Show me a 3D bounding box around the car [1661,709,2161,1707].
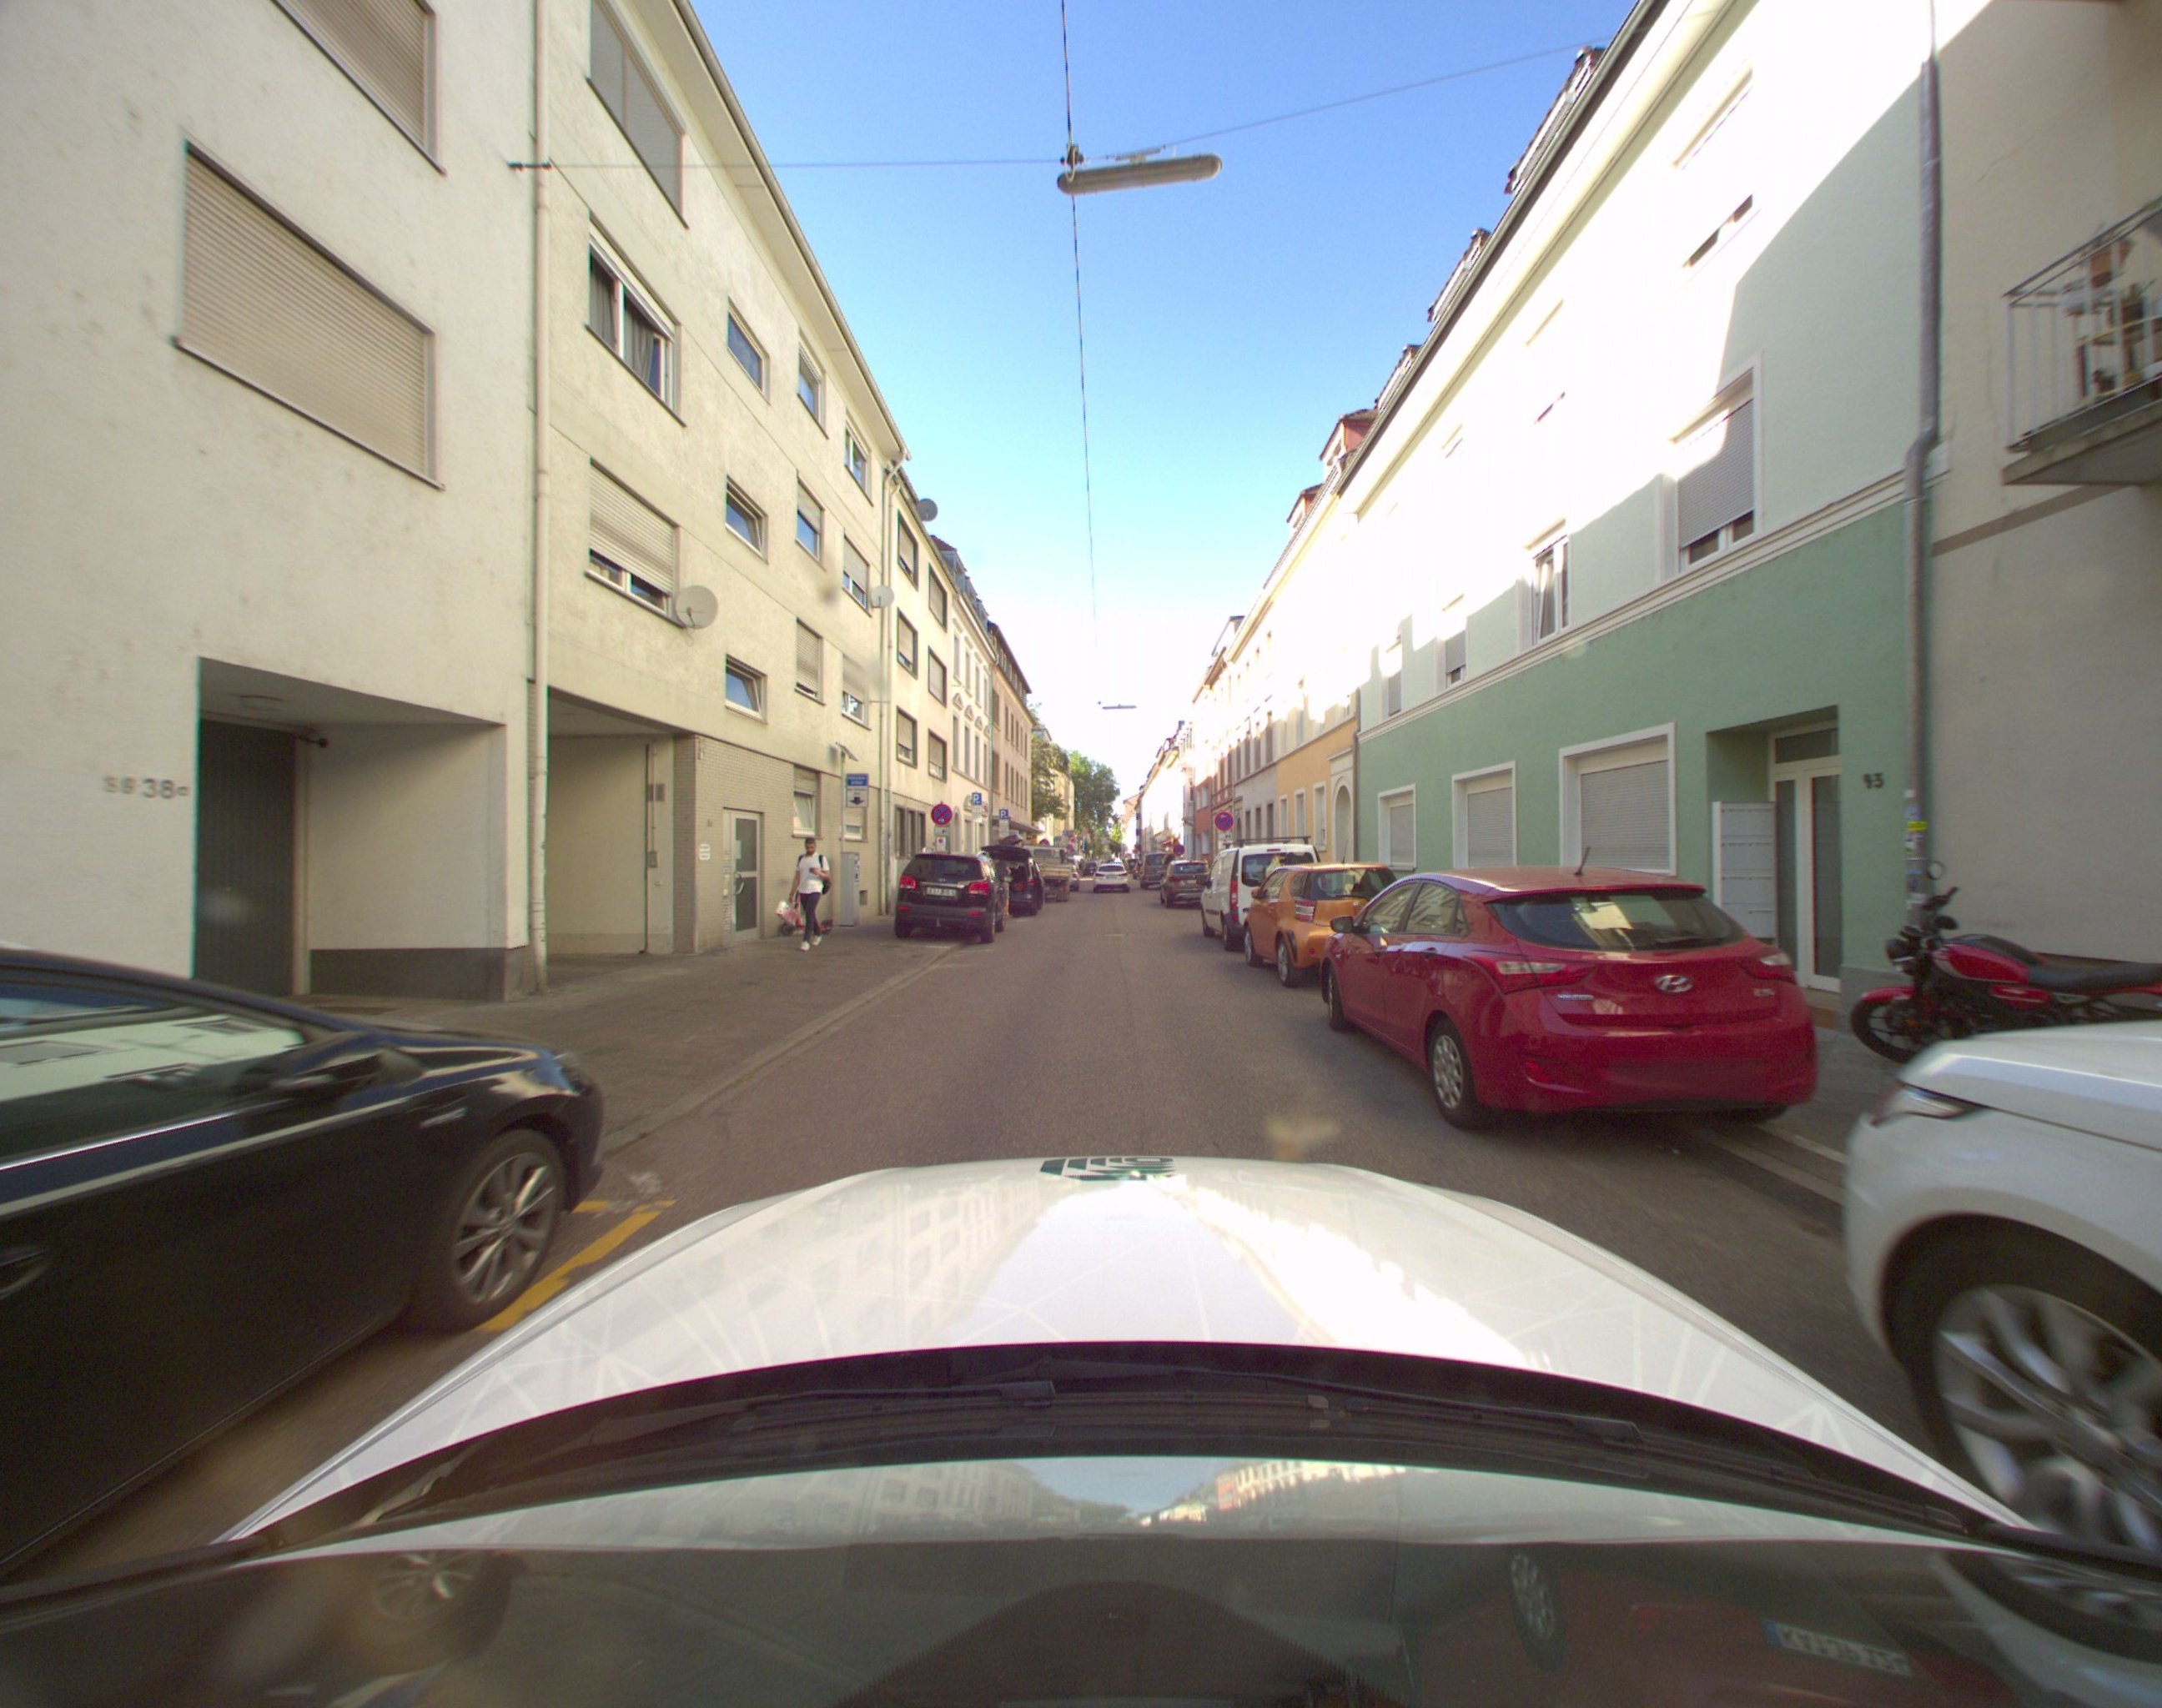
[{"bbox_3d":[2.848,0.630,0.204,1.998,1.783,4.941,-1,0,2],"label":"car"}]

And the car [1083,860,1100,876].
[{"bbox_3d":[1.092,1.456,85.190,1.618,1.597,3.582,0,0,2],"label":"car"}]

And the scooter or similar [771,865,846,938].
[{"bbox_3d":[-5.074,0.871,15.223,0.433,1.278,1.241,-2,-1,43],"label":"scooter or similar"}]

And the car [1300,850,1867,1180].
[{"bbox_3d":[2.976,0.774,5.964,1.736,1.569,4.033,-1,0,2],"label":"car"}]

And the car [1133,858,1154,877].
[{"bbox_3d":[5.390,1.184,70.525,1.640,1.576,3.681,-1,0,2],"label":"car"}]

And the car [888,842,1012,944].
[{"bbox_3d":[-2.531,0.695,16.857,1.874,1.755,4.540,2,0,-2],"label":"car"}]

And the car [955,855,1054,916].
[{"bbox_3d":[-2.236,0.890,25.517,2.432,1.706,5.244,-1,0,2],"label":"car"}]

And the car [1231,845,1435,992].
[{"bbox_3d":[3.159,0.728,10.950,1.575,1.632,3.680,1,0,-1],"label":"car"}]

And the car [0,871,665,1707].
[{"bbox_3d":[-2.751,0.796,1.507,1.701,1.450,4.302,0,0,1],"label":"car"}]

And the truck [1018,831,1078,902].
[{"bbox_3d":[-1.367,0.535,33.328,2.152,2.590,6.242,-1,-1,-3],"label":"truck"}]

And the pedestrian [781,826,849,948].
[{"bbox_3d":[-4.376,0.536,13.450,0.803,1.934,0.691,2,0,2],"label":"pedestrian"}]

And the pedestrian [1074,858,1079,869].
[{"bbox_3d":[-0.600,1.390,117.618,0.625,1.464,0.575,-1,-2,2],"label":"pedestrian"}]

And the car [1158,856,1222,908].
[{"bbox_3d":[3.654,0.899,28.019,1.733,1.577,4.379,-1,0,2],"label":"car"}]

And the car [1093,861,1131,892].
[{"bbox_3d":[1.609,1.110,41.318,1.826,1.486,4.060,-1,0,3],"label":"car"}]

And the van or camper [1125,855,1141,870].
[{"bbox_3d":[6.881,1.112,108.494,1.986,1.926,4.002,-1,-2,2],"label":"van or camper"}]

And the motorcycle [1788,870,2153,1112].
[{"bbox_3d":[5.535,0.766,5.223,0.654,1.279,1.503,-3,0,2],"label":"motorcycle"}]

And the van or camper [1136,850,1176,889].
[{"bbox_3d":[4.190,0.856,45.930,1.769,2.036,4.569,-3,-1,0],"label":"van or camper"}]

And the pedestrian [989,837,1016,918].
[{"bbox_3d":[-2.215,0.654,22.952,0.616,2.229,0.688,-1,-2,2],"label":"pedestrian"}]

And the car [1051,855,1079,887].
[{"bbox_3d":[-0.979,0.995,50.174,1.642,1.868,3.998,-1,0,-1],"label":"car"}]

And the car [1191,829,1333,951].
[{"bbox_3d":[3.240,0.609,15.438,1.776,1.961,4.336,-1,-1,1],"label":"car"}]

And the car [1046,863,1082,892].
[{"bbox_3d":[-0.897,1.242,44.545,1.752,1.415,4.000,-3,0,1],"label":"car"}]
